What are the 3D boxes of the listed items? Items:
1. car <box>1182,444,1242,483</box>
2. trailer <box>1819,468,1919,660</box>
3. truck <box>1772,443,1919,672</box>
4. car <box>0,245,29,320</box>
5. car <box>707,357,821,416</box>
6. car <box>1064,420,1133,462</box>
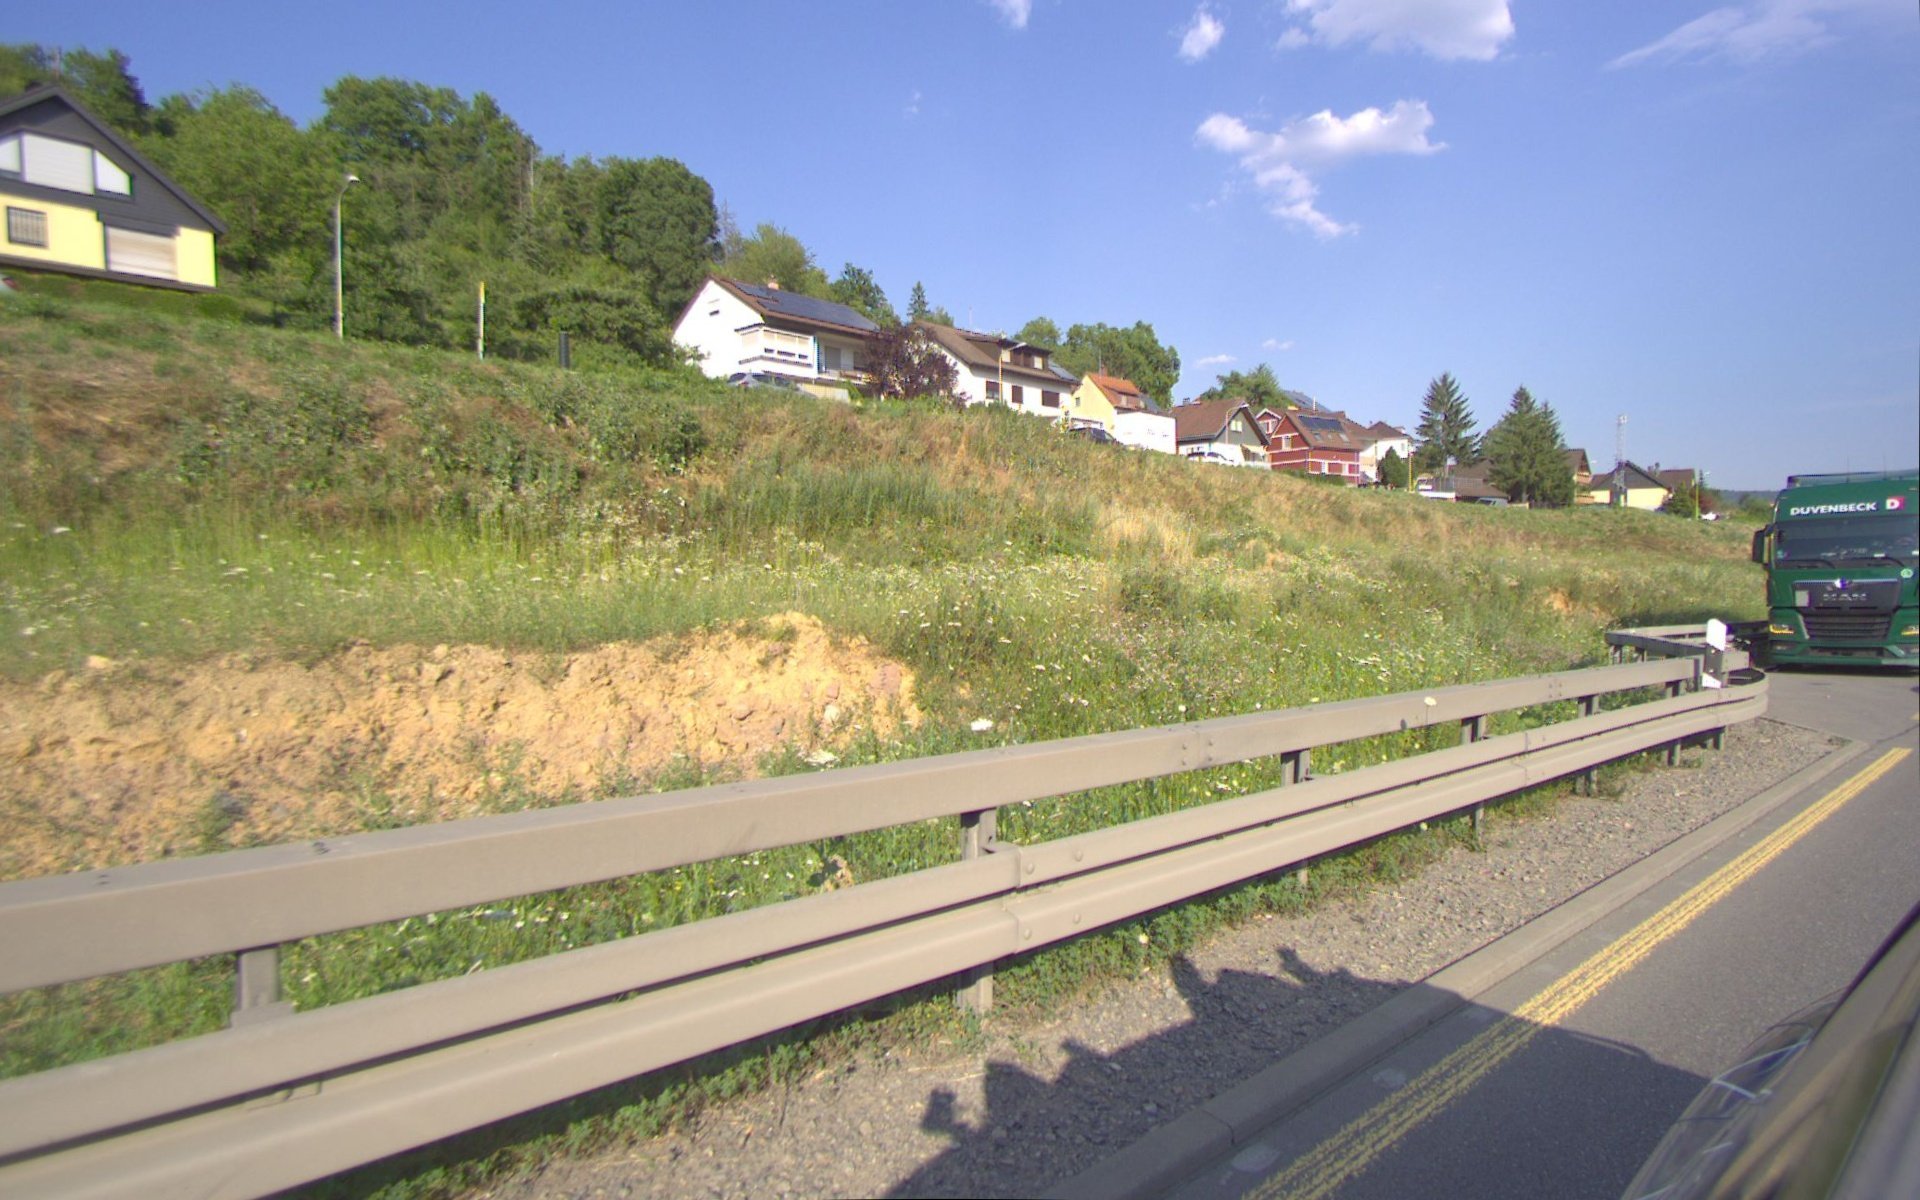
[{"bbox_3d":[16.288,-8.785,65.390,3.934,2.039,1.995,-1,0,-44],"label":"car"},{"bbox_3d":[24.285,-0.822,25.222,11.868,3.983,2.552,-1,0,-41],"label":"trailer"},{"bbox_3d":[18.786,-0.791,20.473,5.964,4.066,2.545,-1,0,-40],"label":"truck"},{"bbox_3d":[-23.810,-7.597,23.181,1.443,1.389,3.507,-1,0,39],"label":"car"},{"bbox_3d":[-7.591,-8.236,39.339,3.933,1.460,1.995,-1,0,-43],"label":"car"},{"bbox_3d":[7.710,-8.787,56.177,1.991,1.661,3.941,0,0,41],"label":"car"}]
